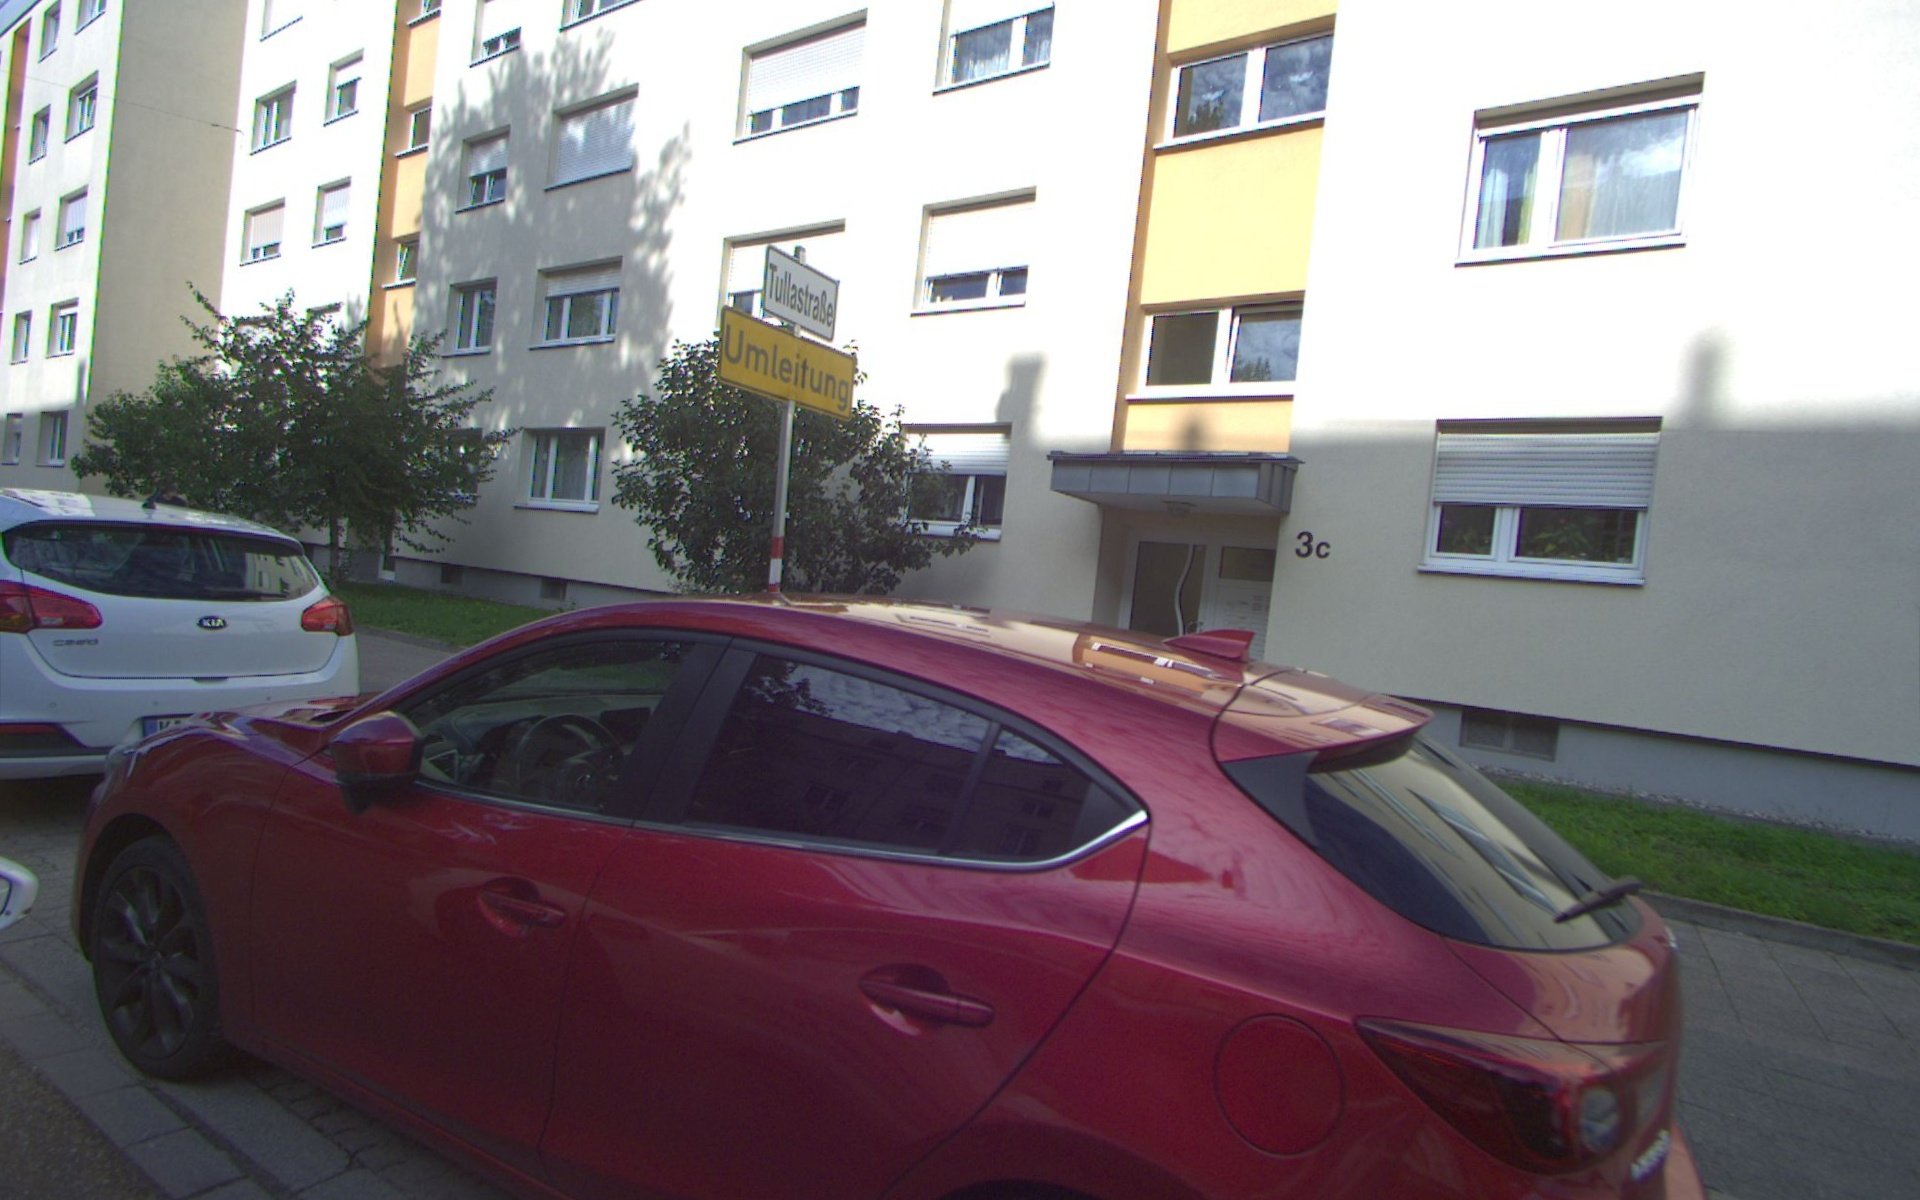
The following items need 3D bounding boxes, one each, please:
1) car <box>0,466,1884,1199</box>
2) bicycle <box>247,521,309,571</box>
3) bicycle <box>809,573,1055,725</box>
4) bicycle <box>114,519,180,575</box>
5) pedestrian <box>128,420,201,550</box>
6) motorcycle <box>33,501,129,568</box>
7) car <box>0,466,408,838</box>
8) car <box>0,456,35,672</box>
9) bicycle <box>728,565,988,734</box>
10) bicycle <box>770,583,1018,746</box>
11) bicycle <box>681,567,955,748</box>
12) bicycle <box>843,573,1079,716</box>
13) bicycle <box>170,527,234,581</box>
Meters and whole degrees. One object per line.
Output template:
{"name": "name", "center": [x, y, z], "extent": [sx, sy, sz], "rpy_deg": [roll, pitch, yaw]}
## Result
{"name": "car", "center": [-0.597, 0.619, 2.734], "extent": [4.117, 1.535, 1.731], "rpy_deg": [6, 1, 27]}
{"name": "bicycle", "center": [-14.738, -1.169, 21.735], "extent": [1.491, 0.939, 0.459], "rpy_deg": [7, 2, 30]}
{"name": "bicycle", "center": [-0.349, 0.485, 10.918], "extent": [2.591, 1.307, 0.727], "rpy_deg": [6, 1, 32]}
{"name": "bicycle", "center": [-15.856, -1.035, 19.602], "extent": [1.491, 0.953, 0.459], "rpy_deg": [7, 2, 30]}
{"name": "pedestrian", "center": [-11.419, -1.645, 14.440], "extent": [0.759, 1.743, 0.541], "rpy_deg": [7, 1, 37]}
{"name": "motorcycle", "center": [-16.635, -1.244, 19.015], "extent": [2.353, 1.058, 0.631], "rpy_deg": [7, 2, 31]}
{"name": "car", "center": [-5.160, 0.061, 5.646], "extent": [4.047, 1.480, 1.730], "rpy_deg": [6, 1, 31]}
{"name": "car", "center": [-9.515, -0.497, 8.222], "extent": [4.047, 1.671, 1.730], "rpy_deg": [6, 1, 31]}
{"name": "bicycle", "center": [-1.051, 0.426, 9.783], "extent": [2.591, 1.308, 0.604], "rpy_deg": [6, 2, 32]}
{"name": "bicycle", "center": [-0.734, 0.600, 10.298], "extent": [2.591, 1.309, 0.595], "rpy_deg": [6, 3, 32]}
{"name": "bicycle", "center": [-1.363, 0.471, 9.229], "extent": [2.591, 1.307, 0.604], "rpy_deg": [6, 1, 32]}
{"name": "bicycle", "center": [-0.036, 0.479, 11.564], "extent": [2.591, 1.306, 0.727], "rpy_deg": [6, 0, 32]}
{"name": "bicycle", "center": [-15.401, -0.934, 20.441], "extent": [1.491, 0.939, 0.459], "rpy_deg": [7, 2, 30]}
